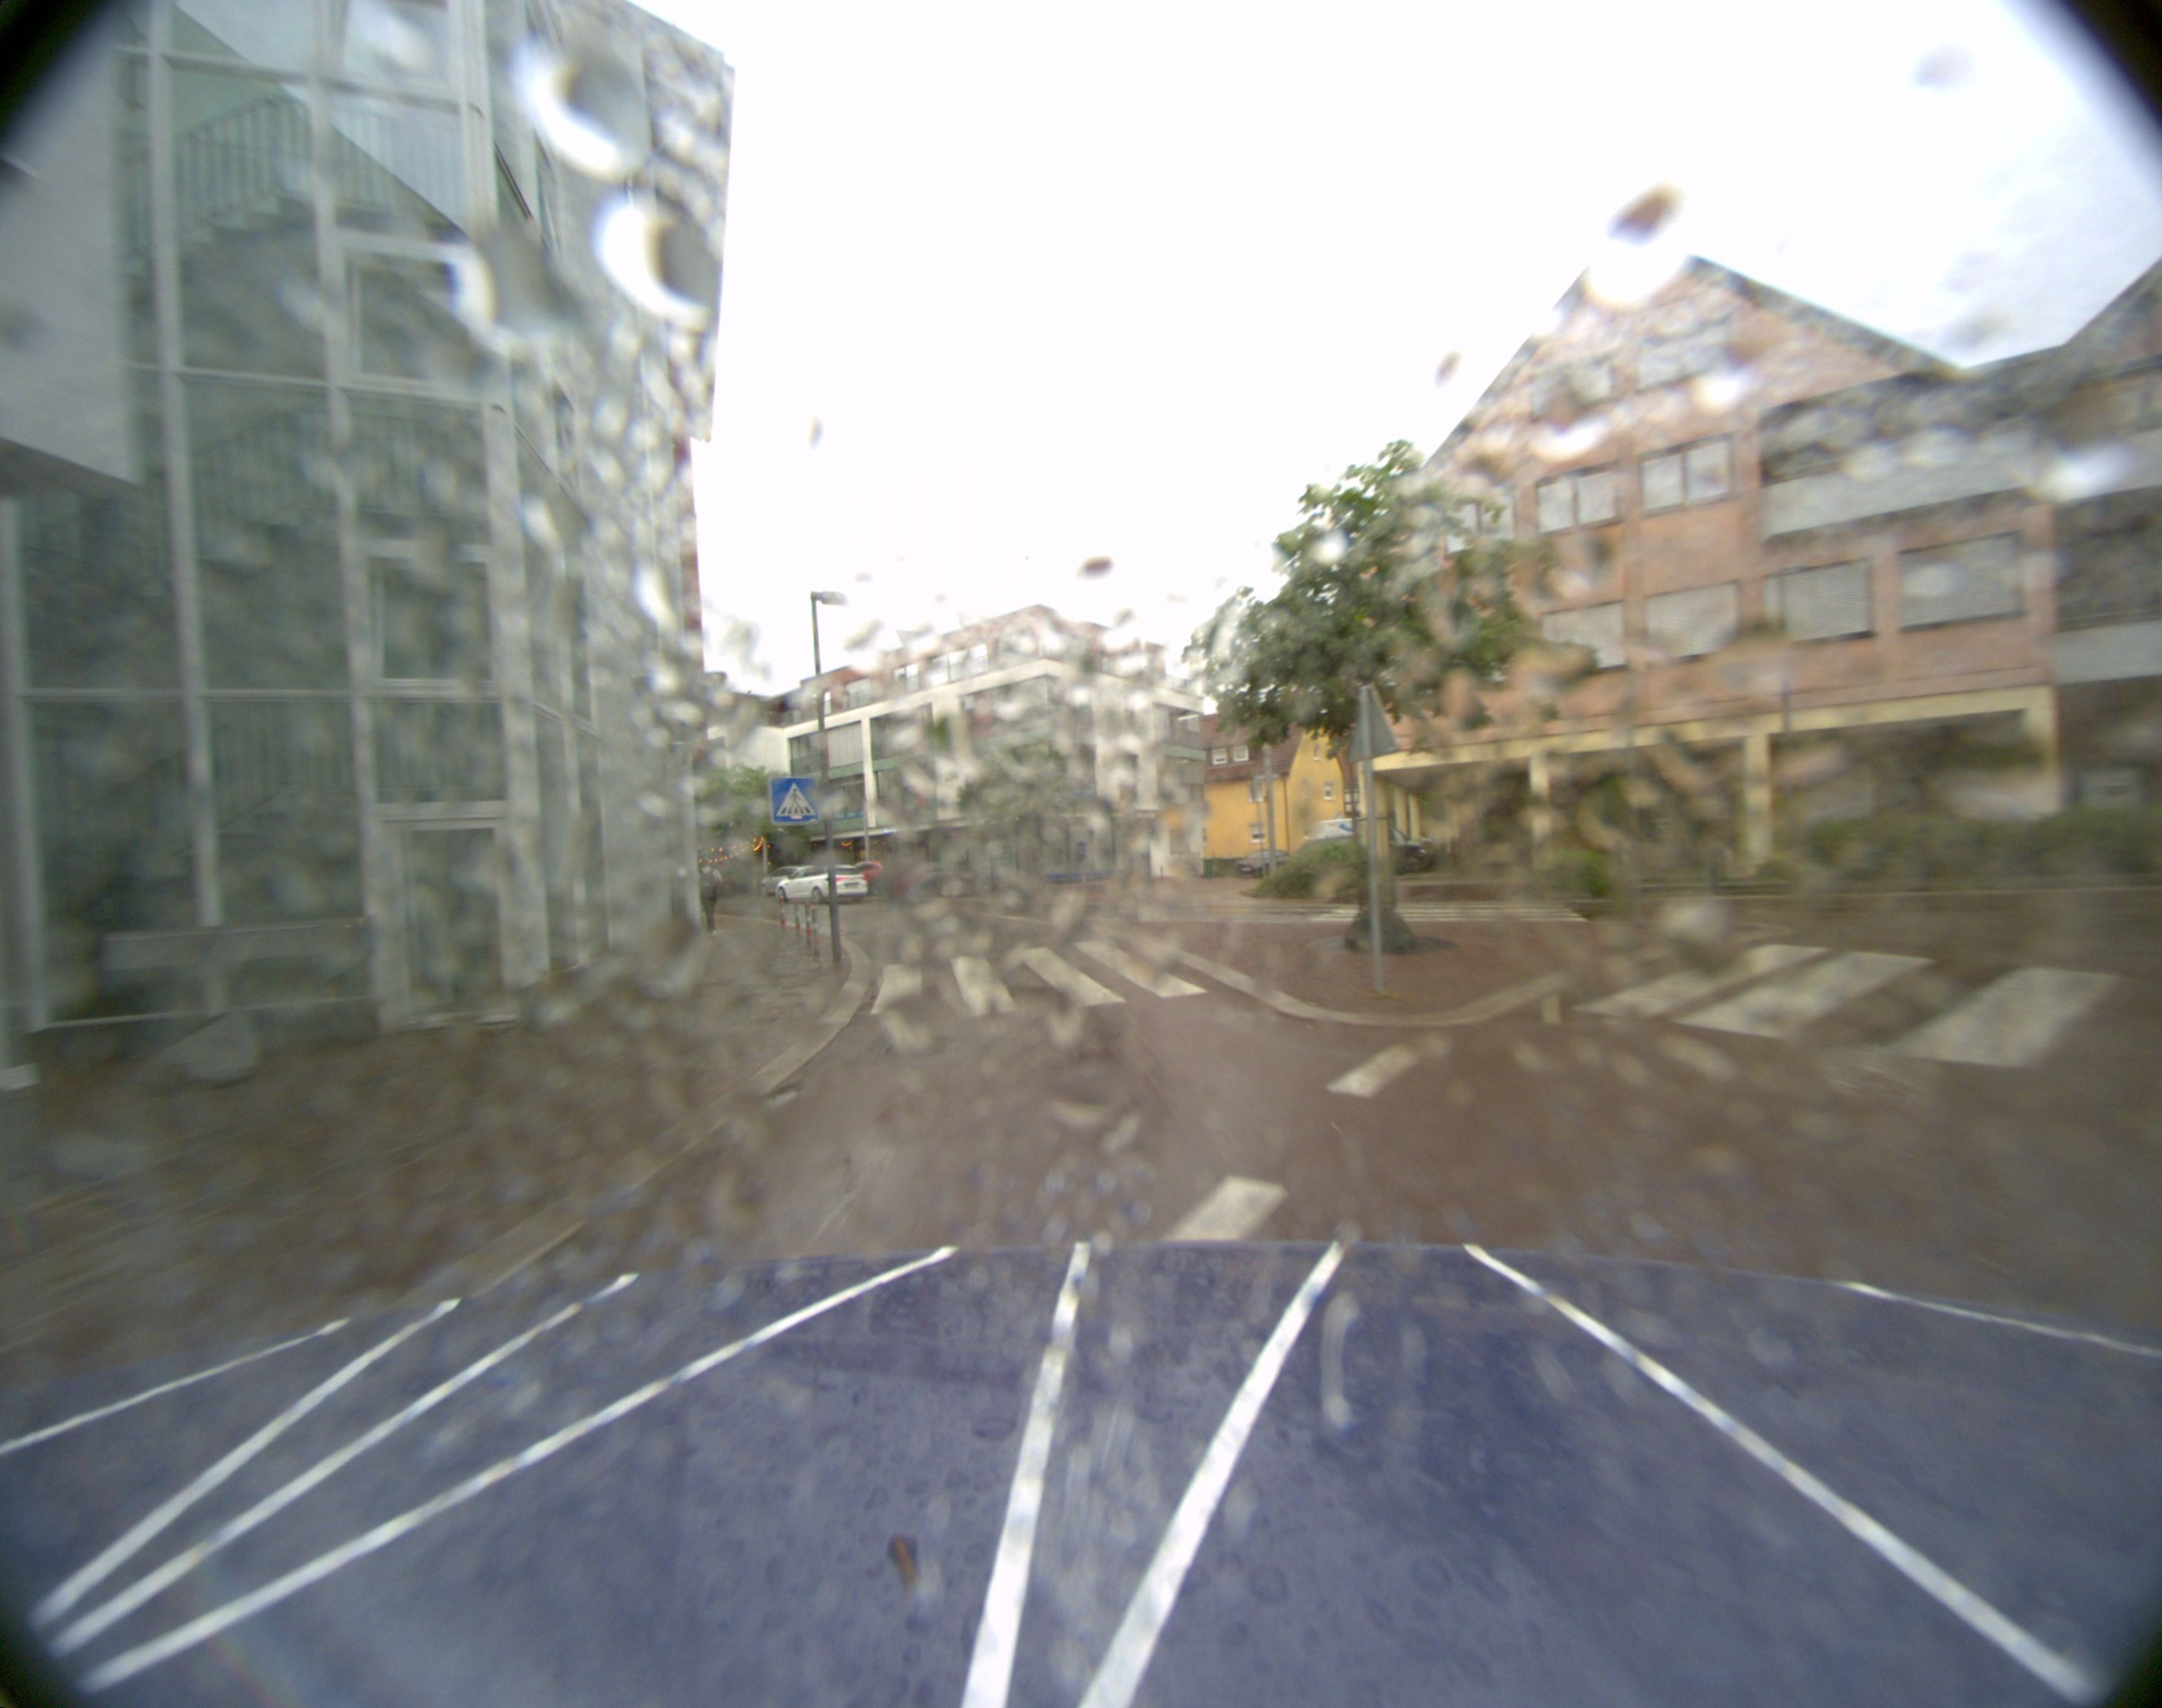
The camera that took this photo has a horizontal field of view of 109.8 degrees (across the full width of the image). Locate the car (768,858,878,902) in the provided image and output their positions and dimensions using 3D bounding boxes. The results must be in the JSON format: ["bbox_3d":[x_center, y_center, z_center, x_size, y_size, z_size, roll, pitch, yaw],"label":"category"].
[{"bbox_3d":[-10.117,1.028,29.560,4.850,1.482,1.928,-3,1,43],"label":"car"}]

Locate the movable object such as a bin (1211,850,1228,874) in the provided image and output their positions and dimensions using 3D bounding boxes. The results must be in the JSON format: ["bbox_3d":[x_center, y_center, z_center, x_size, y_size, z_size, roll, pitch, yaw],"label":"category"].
[{"bbox_3d":[7.314,0.438,40.086,0.630,1.226,0.524,-2,3,40],"label":"movable object such as a bin"}]

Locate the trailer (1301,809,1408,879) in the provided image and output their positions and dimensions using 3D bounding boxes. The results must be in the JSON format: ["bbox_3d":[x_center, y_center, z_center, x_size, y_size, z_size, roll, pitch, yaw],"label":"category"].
[{"bbox_3d":[9.615,-0.309,26.692,3.086,2.075,1.839,-7,-2,30],"label":"trailer"}]

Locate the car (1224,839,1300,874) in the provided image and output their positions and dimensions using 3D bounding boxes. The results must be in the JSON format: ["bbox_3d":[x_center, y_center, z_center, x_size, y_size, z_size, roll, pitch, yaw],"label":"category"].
[{"bbox_3d":[9.668,0.093,40.348,1.994,1.499,4.552,-2,2,41],"label":"car"}]

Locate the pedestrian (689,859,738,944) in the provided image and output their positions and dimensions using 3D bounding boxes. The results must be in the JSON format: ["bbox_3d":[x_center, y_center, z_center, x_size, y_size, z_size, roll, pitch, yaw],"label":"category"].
[{"bbox_3d":[-8.295,1.041,17.138,0.823,1.796,1.144,-5,2,-28],"label":"pedestrian"}]

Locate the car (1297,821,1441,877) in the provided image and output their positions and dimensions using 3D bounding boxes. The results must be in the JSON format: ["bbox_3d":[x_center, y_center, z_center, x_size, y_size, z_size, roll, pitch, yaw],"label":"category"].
[{"bbox_3d":[9.162,-0.150,24.219,3.990,1.499,1.839,-3,2,30],"label":"car"}]

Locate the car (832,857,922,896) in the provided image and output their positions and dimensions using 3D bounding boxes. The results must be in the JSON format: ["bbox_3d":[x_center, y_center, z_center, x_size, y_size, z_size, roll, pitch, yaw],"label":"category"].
[{"bbox_3d":[-9.134,1.010,33.894,3.911,1.546,1.806,-3,2,38],"label":"car"}]

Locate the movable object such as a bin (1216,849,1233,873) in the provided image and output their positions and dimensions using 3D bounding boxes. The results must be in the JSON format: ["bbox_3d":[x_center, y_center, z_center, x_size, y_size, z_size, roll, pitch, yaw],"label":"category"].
[{"bbox_3d":[7.668,0.394,40.549,0.630,1.226,0.524,-2,3,40],"label":"movable object such as a bin"}]

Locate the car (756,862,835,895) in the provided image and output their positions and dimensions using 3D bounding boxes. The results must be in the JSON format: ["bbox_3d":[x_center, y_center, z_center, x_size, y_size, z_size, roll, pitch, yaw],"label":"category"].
[{"bbox_3d":[-14.137,1.230,37.577,3.851,1.386,1.729,-3,2,36],"label":"car"}]

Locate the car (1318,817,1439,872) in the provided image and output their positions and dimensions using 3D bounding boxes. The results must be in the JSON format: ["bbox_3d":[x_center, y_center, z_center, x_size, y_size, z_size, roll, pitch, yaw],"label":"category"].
[{"bbox_3d":[11.524,-0.329,29.469,3.991,1.661,1.839,-7,-2,30],"label":"car"}]

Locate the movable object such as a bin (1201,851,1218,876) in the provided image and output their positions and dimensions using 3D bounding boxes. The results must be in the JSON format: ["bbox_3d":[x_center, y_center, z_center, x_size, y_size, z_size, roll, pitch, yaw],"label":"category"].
[{"bbox_3d":[6.670,0.489,39.327,0.630,1.226,0.524,-2,3,40],"label":"movable object such as a bin"}]

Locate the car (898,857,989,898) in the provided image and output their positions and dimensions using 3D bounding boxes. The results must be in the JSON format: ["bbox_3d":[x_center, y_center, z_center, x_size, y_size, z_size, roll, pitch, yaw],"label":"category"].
[{"bbox_3d":[-5.585,0.943,30.608,3.576,1.427,1.683,-2,2,43],"label":"car"}]
